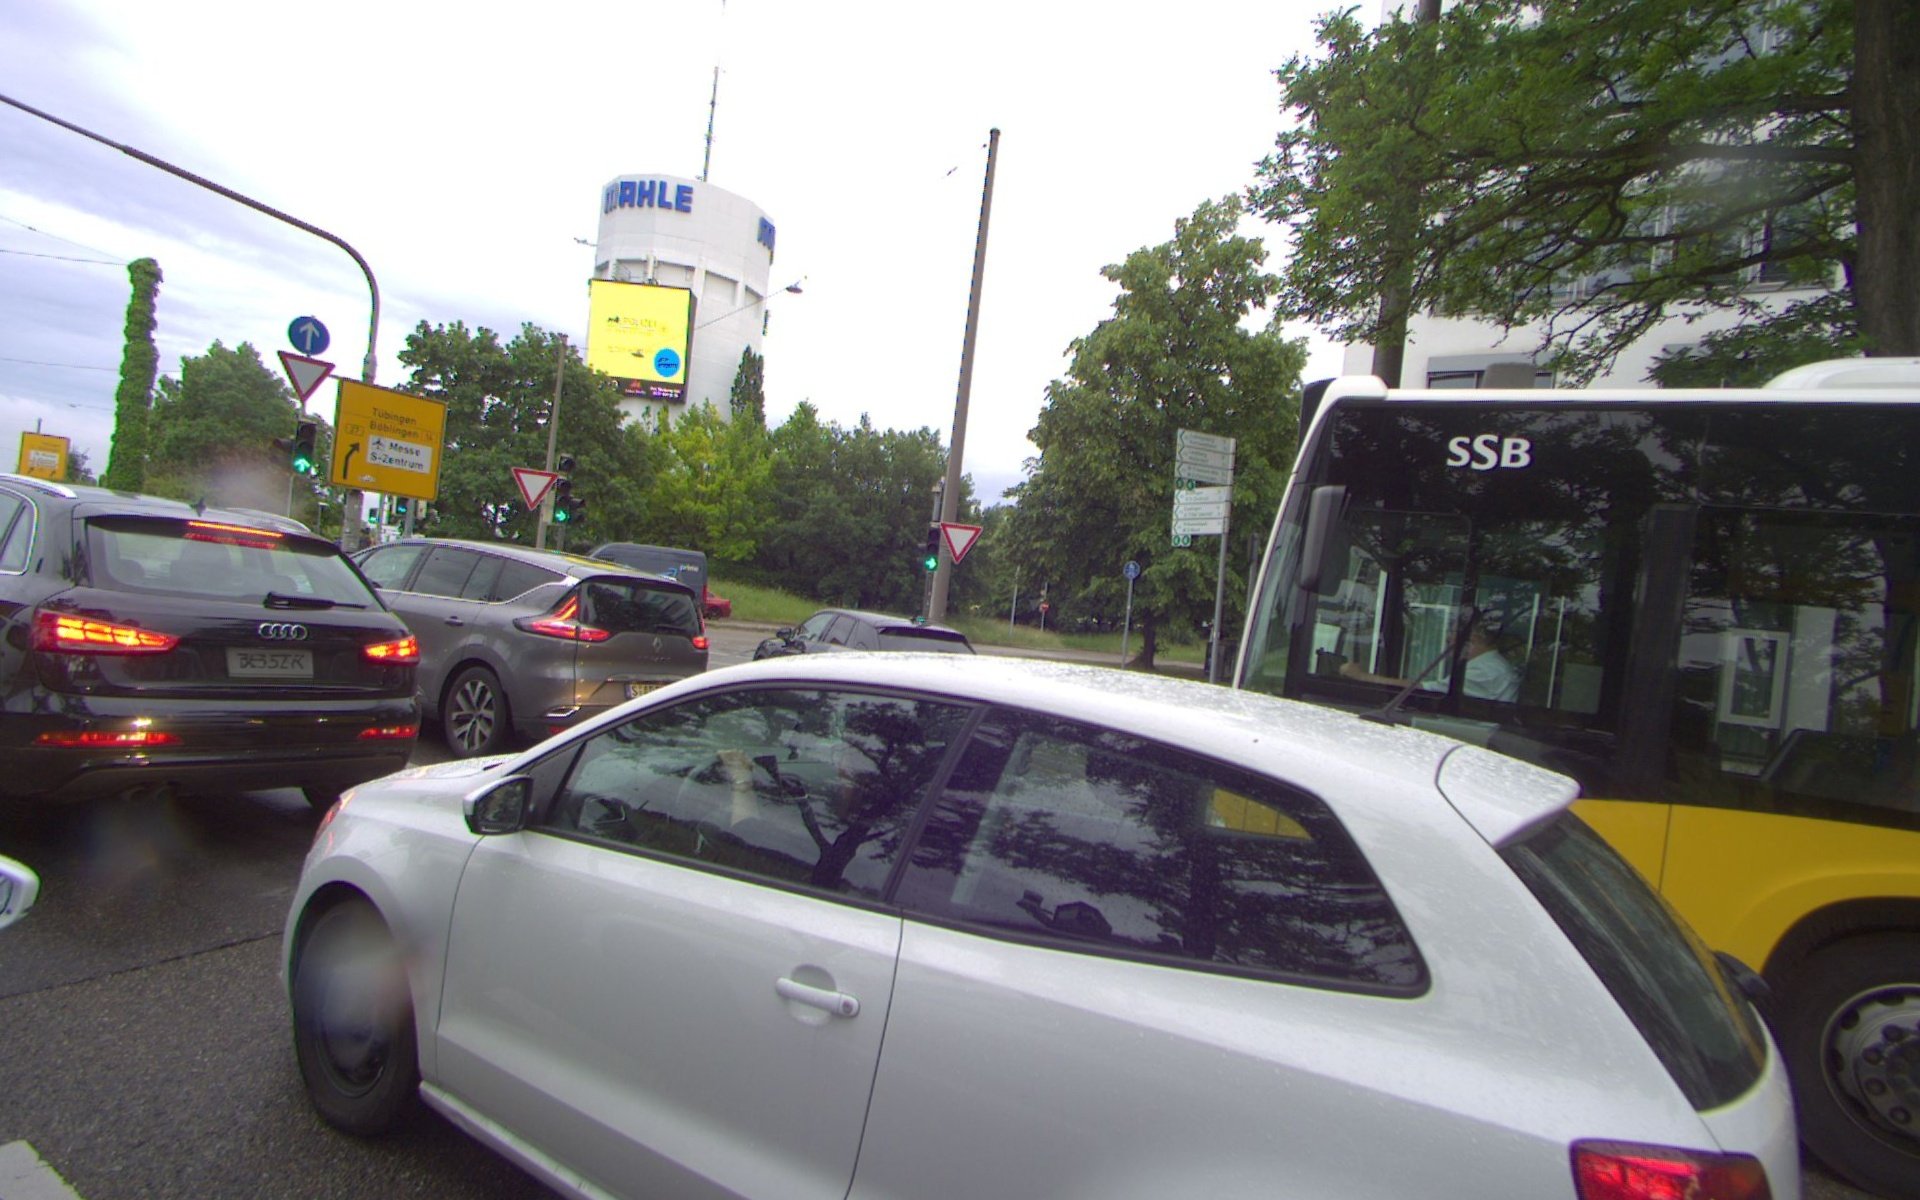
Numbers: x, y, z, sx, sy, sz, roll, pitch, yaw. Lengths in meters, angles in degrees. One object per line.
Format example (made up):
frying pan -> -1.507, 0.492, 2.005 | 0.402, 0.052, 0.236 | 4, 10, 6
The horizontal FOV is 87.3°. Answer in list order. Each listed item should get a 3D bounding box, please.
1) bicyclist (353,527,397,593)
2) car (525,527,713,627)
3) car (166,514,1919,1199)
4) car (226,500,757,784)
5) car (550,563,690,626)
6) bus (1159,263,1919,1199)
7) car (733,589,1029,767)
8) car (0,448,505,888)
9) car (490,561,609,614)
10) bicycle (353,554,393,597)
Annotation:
bicyclist -> -15.576, -1.047, 26.768 | 0.803, 1.602, 1.015 | 9, -2, -32
car -> -12.414, -0.763, 36.803 | 5.972, 2.772, 2.065 | 8, -3, -33
car -> -0.161, 0.736, 2.688 | 3.748, 1.448, 1.745 | 6, -3, 31
car -> -4.216, 0.268, 8.877 | 4.488, 1.694, 1.869 | 8, -1, 30
car -> -11.492, -0.162, 34.120 | 4.027, 1.586, 1.854 | 9, -4, -36
bus -> 6.889, 0.938, 2.790 | 11.943, 3.187, 2.733 | 7, -2, 32
car -> -1.156, 0.834, 12.220 | 1.850, 1.517, 4.116 | 5, 2, -31
car -> -4.696, 0.176, 5.522 | 4.045, 1.613, 1.889 | 6, -3, 31
car -> -16.999, -0.511, 41.716 | 4.112, 1.582, 1.852 | 9, -2, -38
bicycle -> -15.714, -0.676, 26.907 | 0.802, 1.035, 2.310 | 6, -1, -31
